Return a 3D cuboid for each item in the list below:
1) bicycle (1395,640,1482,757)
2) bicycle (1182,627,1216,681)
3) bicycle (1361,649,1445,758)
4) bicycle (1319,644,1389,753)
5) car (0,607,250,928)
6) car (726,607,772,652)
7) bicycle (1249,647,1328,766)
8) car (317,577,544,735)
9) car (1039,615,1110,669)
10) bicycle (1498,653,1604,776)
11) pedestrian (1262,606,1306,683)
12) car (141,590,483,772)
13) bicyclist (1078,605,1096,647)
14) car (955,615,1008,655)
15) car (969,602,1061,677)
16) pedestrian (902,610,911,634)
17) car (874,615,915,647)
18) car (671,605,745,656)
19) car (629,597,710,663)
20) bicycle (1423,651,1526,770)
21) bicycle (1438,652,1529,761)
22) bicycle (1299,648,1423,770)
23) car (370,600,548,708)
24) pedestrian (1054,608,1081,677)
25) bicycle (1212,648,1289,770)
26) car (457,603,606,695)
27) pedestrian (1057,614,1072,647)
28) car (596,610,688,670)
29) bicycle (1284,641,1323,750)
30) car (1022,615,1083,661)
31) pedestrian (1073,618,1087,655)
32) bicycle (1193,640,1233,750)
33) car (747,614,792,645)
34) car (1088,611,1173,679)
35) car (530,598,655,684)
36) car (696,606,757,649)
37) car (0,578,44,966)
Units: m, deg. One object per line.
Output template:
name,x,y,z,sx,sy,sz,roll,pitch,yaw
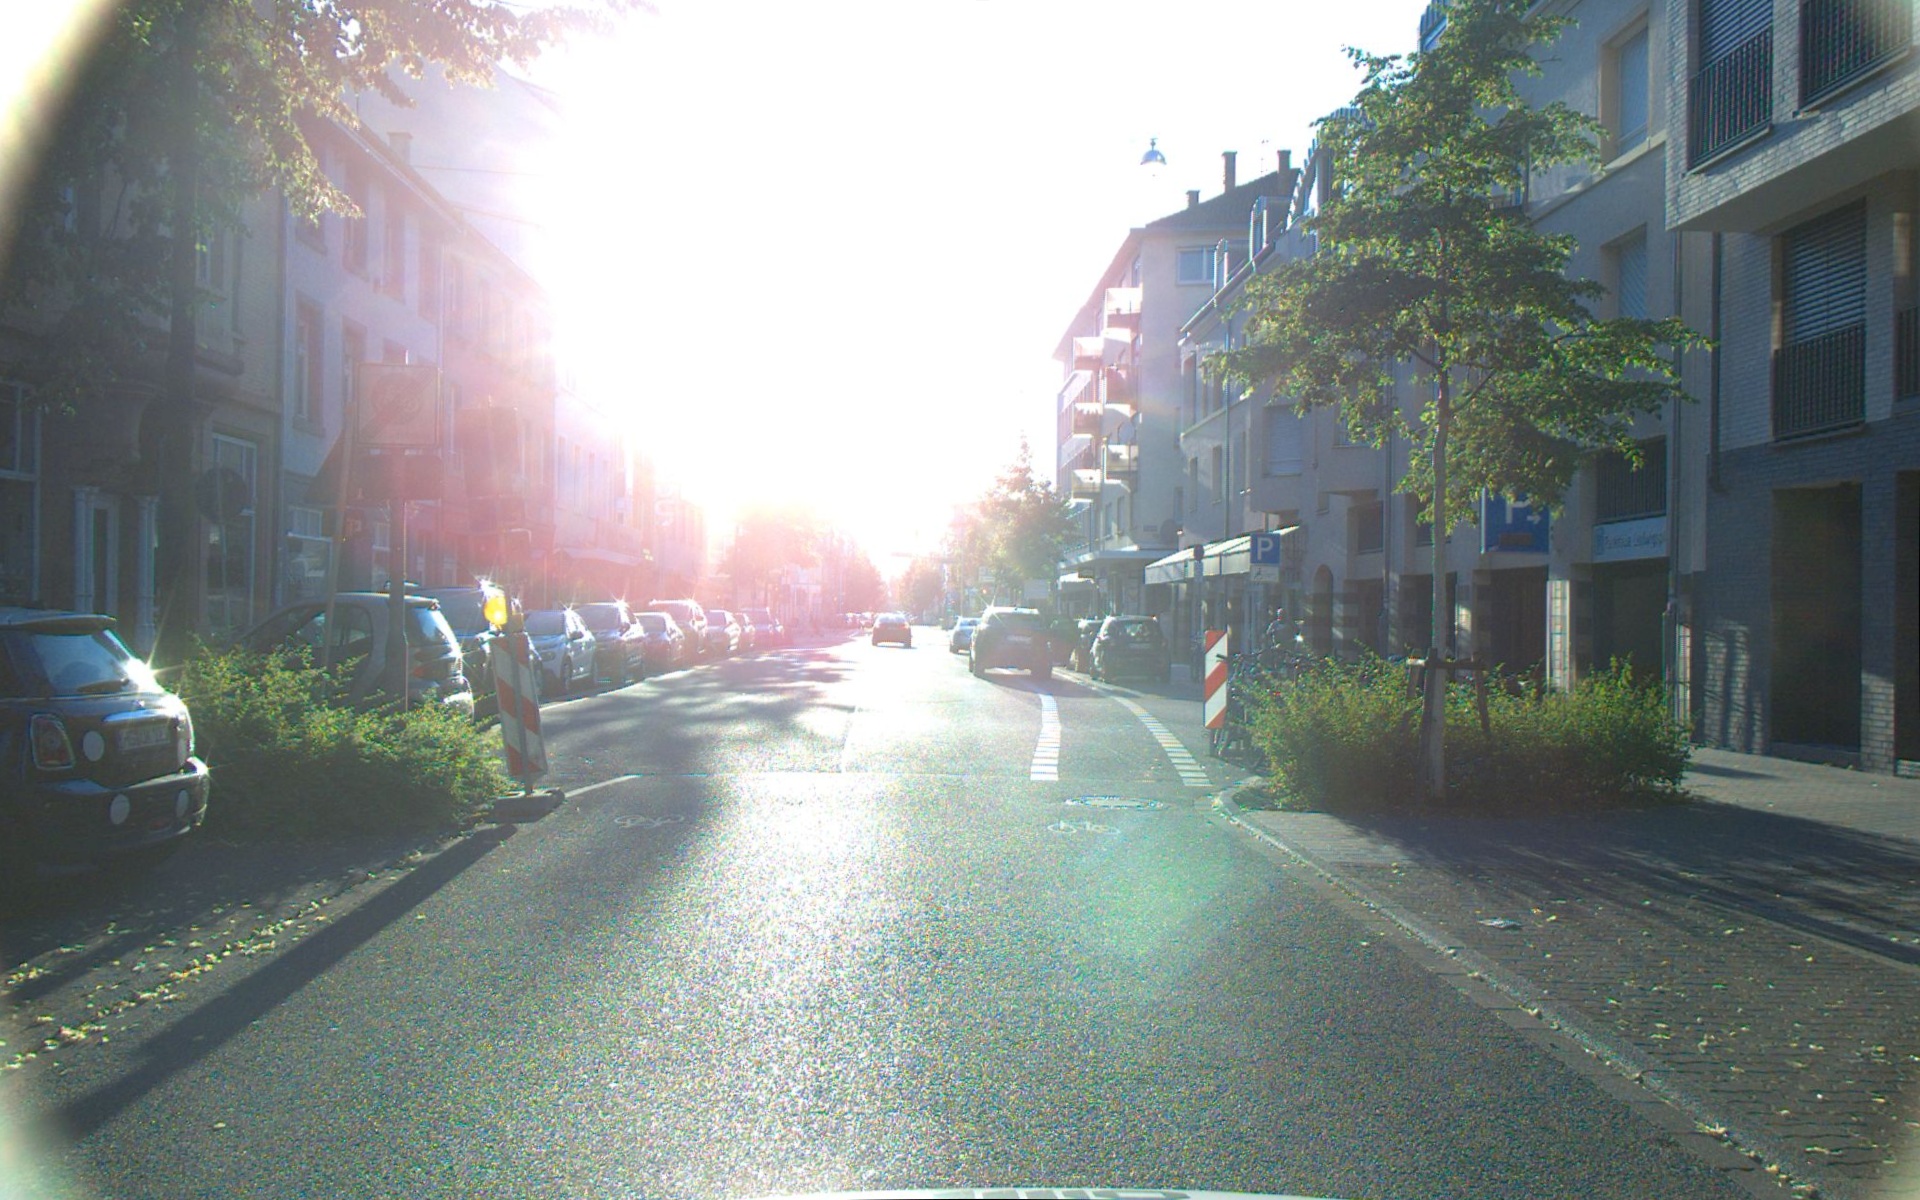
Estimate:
bicycle,5.246,1.062,18.202,0.374,1.210,1.521,1,-1,-6
bicycle,5.719,1.283,39.631,0.389,1.256,1.824,0,-1,-4
bicycle,4.833,1.106,18.113,0.374,1.119,1.521,1,-1,-5
bicycle,4.309,1.053,18.152,0.374,1.119,1.565,0,-1,-1
car,-5.588,0.739,8.245,3.327,1.416,1.686,1,-1,0
car,-9.090,1.281,71.522,1.797,1.887,4.119,1,-1,-5
bicycle,3.307,1.046,16.751,0.374,1.119,1.521,0,-1,-5
car,-6.633,0.673,21.254,1.868,1.759,4.695,-1,-1,-7
car,3.206,1.173,46.982,1.600,1.449,3.755,0,-1,-3
bicycle,5.829,1.106,16.379,0.374,1.119,1.521,0,-1,-6
pedestrian,7.226,0.987,36.919,0.794,1.675,0.606,-1,-2,-2
car,-6.048,0.720,15.683,2.642,1.547,1.570,-2,1,-6
bicyclist,5.310,1.092,69.101,0.637,1.732,1.095,0,-1,-3
car,0.827,1.386,65.926,1.883,1.440,4.546,3,-1,-2
car,1.314,0.962,41.178,1.955,1.684,4.672,2,-1,-2
pedestrian,-3.772,1.566,117.432,0.488,1.745,0.459,1,0,-22
car,-3.088,1.448,78.233,1.845,1.440,4.323,1,-1,-2
car,-8.529,1.016,56.374,1.790,1.583,5.134,-2,0,-1
car,-8.681,0.887,49.771,1.791,1.842,5.344,-1,0,-4
bicycle,5.224,1.098,16.852,0.374,1.119,1.520,0,-1,-9
bicycle,5.683,1.134,18.029,0.374,1.119,1.521,0,-1,-6
bicycle,3.965,1.055,16.441,0.376,1.119,1.512,0,-1,-23
car,-7.684,0.805,25.674,1.738,1.541,3.483,1,-1,-1
pedestrian,2.655,1.039,40.799,0.436,1.694,0.560,0,-1,-27
bicycle,2.867,1.054,16.434,0.374,1.119,1.521,0,-1,-5
car,-7.696,0.851,30.059,1.738,1.541,3.948,1,0,-1
pedestrian,5.046,1.454,79.805,0.674,1.586,0.862,0,-1,-2
car,-8.238,1.013,43.193,1.678,1.466,4.307,-1,0,-2
bicycle,3.805,1.037,18.382,0.363,1.127,1.524,0,-1,10
car,3.024,1.240,54.793,1.669,1.461,3.930,1,-1,-2
pedestrian,5.771,1.747,79.648,0.673,1.752,0.717,-1,-1,4
bicycle,2.817,1.037,18.472,0.355,1.161,1.566,0,-1,6
car,-8.888,1.374,77.517,1.796,1.351,4.121,1,0,-3
car,4.103,1.075,40.175,1.601,1.581,2.692,0,-1,-5
car,-7.622,0.815,34.643,1.738,1.661,4.236,1,0,-1
car,-8.769,1.033,62.411,1.790,1.464,4.551,-2,-1,-2
car,-5.702,0.651,5.872,3.814,1.544,1.856,1,-1,-2
